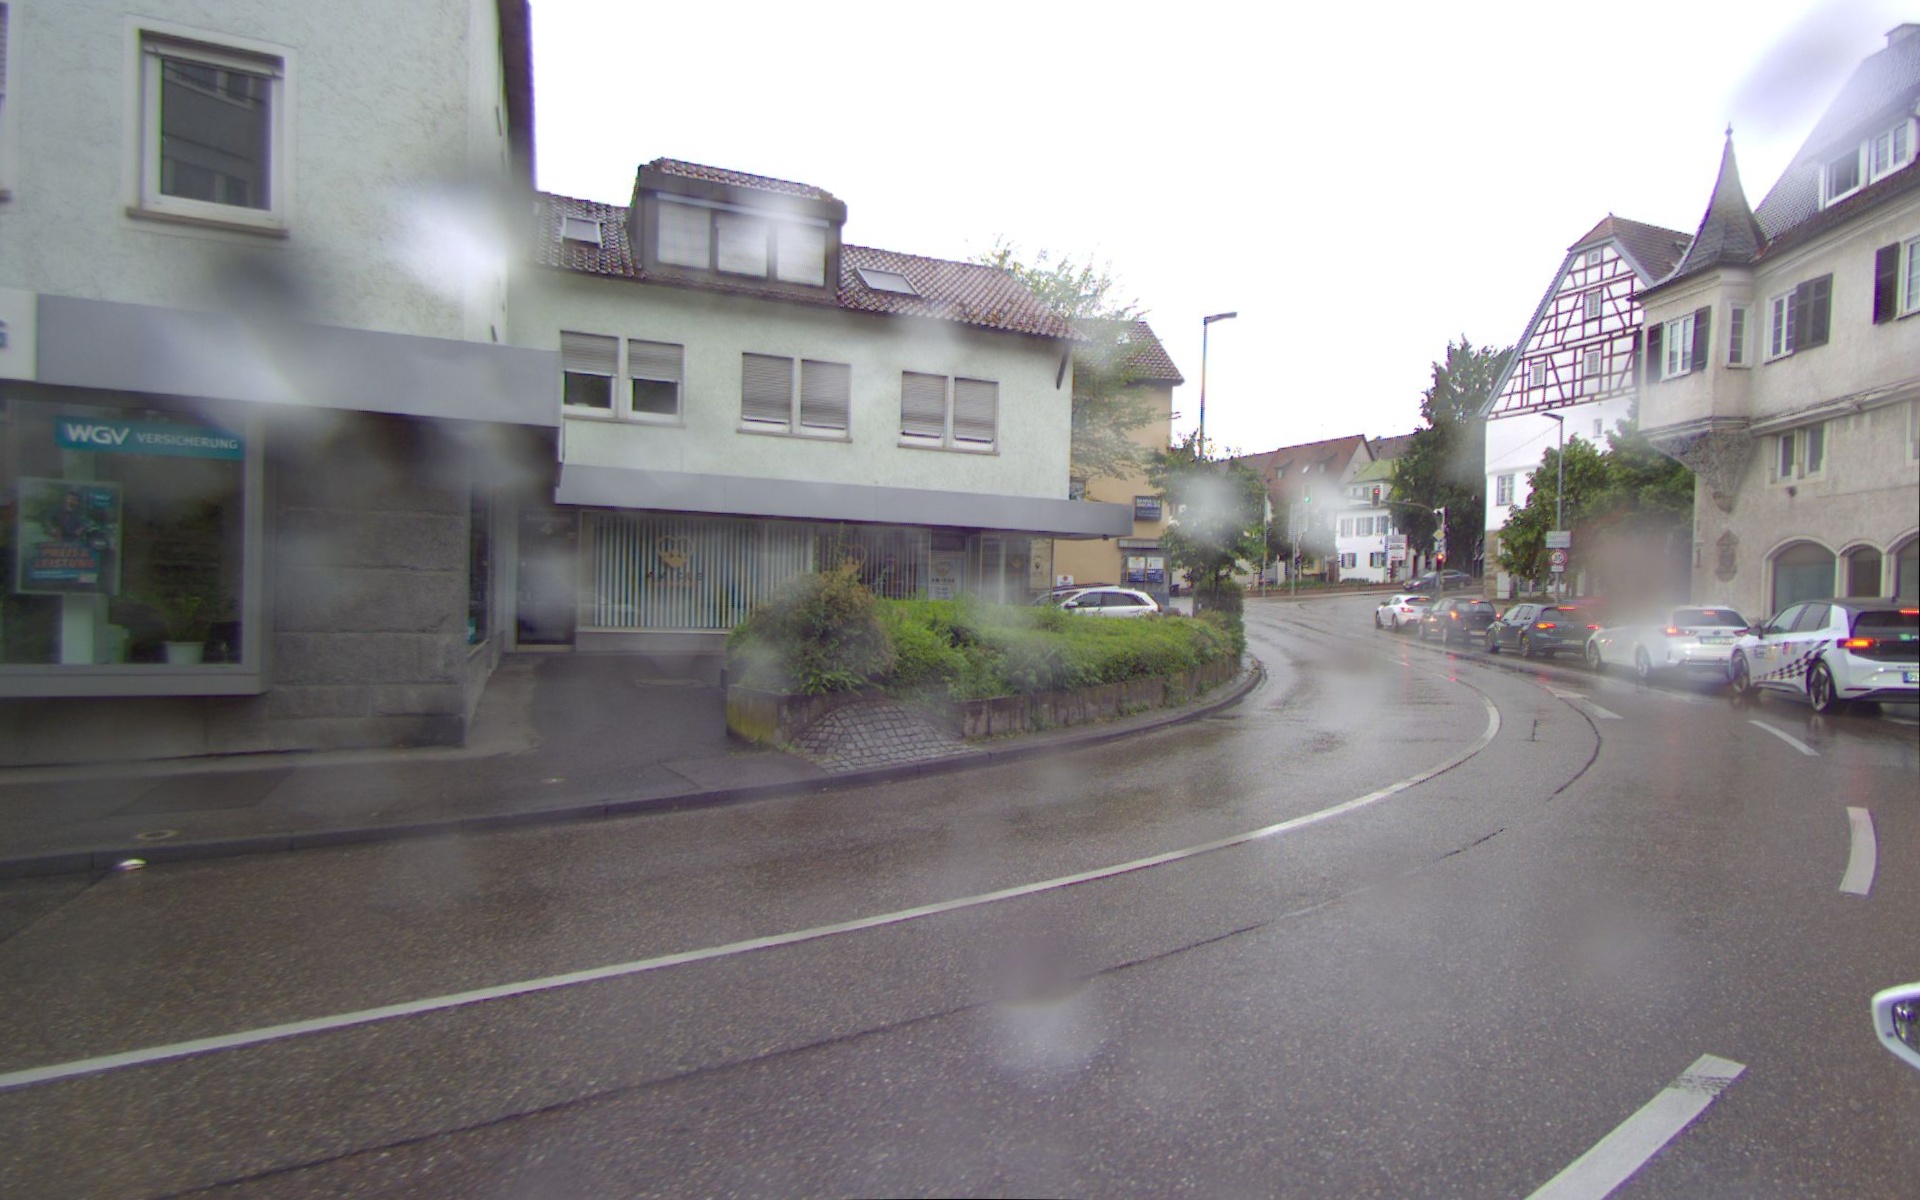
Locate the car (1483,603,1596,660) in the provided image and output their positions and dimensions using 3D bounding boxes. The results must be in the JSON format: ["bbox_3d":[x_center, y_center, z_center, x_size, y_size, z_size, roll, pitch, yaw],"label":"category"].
[{"bbox_3d":[15.692,0.817,27.409,1.492,1.380,3.769,-1,1,10],"label":"car"}]

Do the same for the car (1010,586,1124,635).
[{"bbox_3d":[3.553,0.328,33.576,3.474,1.597,1.709,0,1,-11],"label":"car"}]

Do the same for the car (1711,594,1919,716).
[{"bbox_3d":[12.751,0.703,14.594,1.759,1.537,4.241,-1,0,20],"label":"car"}]

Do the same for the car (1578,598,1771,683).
[{"bbox_3d":[14.247,0.735,20.332,1.755,1.485,4.166,0,1,13],"label":"car"}]

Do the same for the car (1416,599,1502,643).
[{"bbox_3d":[16.734,0.674,33.848,1.634,1.330,3.625,-1,1,10],"label":"car"}]

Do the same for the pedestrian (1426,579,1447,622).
[{"bbox_3d":[26.684,0.042,56.230,0.850,2.357,1.231,1,0,16],"label":"pedestrian"}]

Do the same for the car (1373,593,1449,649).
[{"bbox_3d":[18.103,0.808,40.507,1.939,2.118,3.962,-1,1,11],"label":"car"}]

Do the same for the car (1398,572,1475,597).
[{"bbox_3d":[31.837,-1.024,67.155,4.449,1.409,1.647,1,7,-11],"label":"car"}]

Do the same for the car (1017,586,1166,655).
[{"bbox_3d":[3.366,0.502,26.061,3.474,1.708,1.709,0,1,-11],"label":"car"}]
